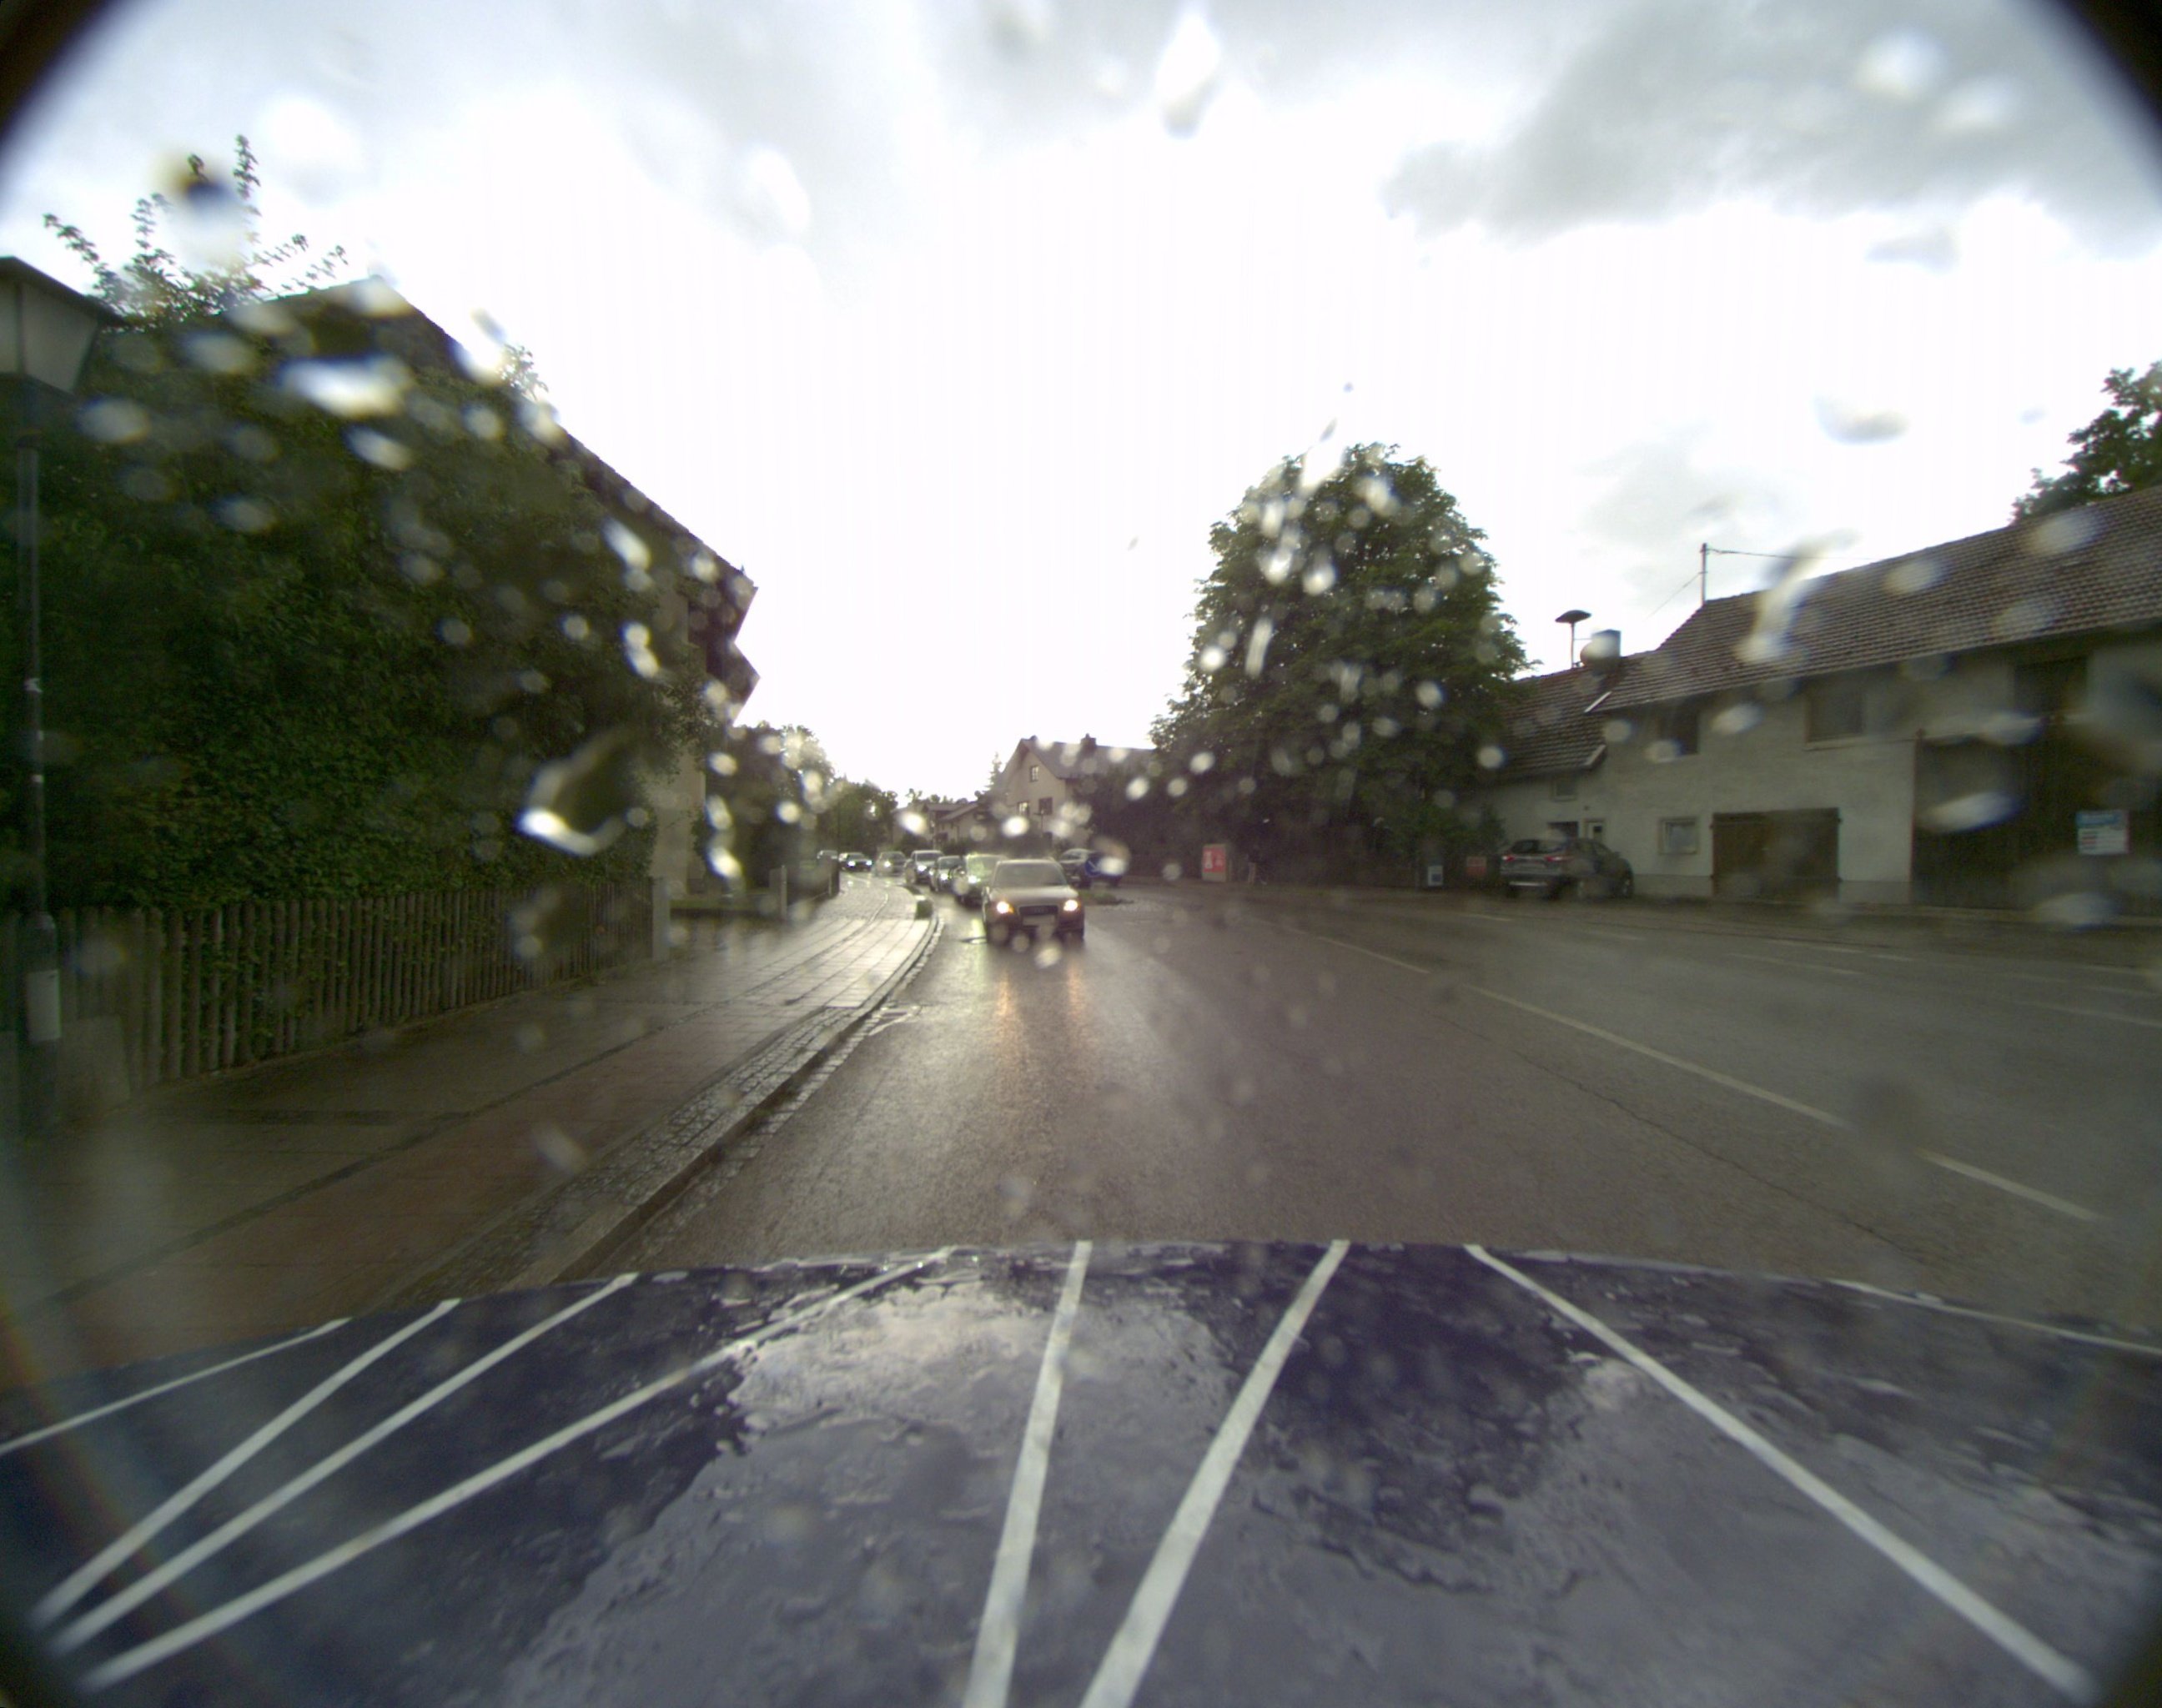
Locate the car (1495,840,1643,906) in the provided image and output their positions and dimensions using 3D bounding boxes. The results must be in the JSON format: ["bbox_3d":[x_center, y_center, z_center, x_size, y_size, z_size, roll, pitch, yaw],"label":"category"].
[{"bbox_3d":[12.640,0.465,19.600,4.290,1.539,1.813,1,0,-37],"label":"car"}]

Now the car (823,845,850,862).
[{"bbox_3d":[-23.619,-0.047,73.231,1.797,1.539,4.272,-3,1,-27],"label":"car"}]

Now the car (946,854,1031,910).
[{"bbox_3d":[-3.046,0.777,23.868,1.796,1.470,5.377,-3,1,-16],"label":"car"}]

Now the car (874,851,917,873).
[{"bbox_3d":[-12.532,0.539,51.082,1.797,1.365,4.272,-3,1,-27],"label":"car"}]

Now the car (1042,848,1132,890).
[{"bbox_3d":[0.175,0.621,32.462,2.003,1.585,4.182,-2,0,-29],"label":"car"}]

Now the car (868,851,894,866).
[{"bbox_3d":[-21.035,0.464,79.667,1.797,1.539,4.272,-3,1,-26],"label":"car"}]

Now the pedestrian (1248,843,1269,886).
[{"bbox_3d":[6.692,0.385,28.646,0.652,1.619,0.479,-1,1,23],"label":"pedestrian"}]

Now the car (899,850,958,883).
[{"bbox_3d":[-7.768,0.599,38.471,1.797,1.539,4.272,-3,1,-27],"label":"car"}]

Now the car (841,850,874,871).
[{"bbox_3d":[-18.339,0.504,62.189,1.797,1.539,4.272,-3,1,-27],"label":"car"}]

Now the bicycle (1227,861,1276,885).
[{"bbox_3d":[6.665,0.727,29.839,0.665,0.897,1.869,-2,1,-39],"label":"bicycle"}]

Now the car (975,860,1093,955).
[{"bbox_3d":[-1.055,0.890,14.592,1.795,1.387,4.277,-2,1,-9],"label":"car"}]

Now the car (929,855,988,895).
[{"bbox_3d":[-4.994,0.790,30.461,1.796,1.387,4.275,-3,1,-16],"label":"car"}]
